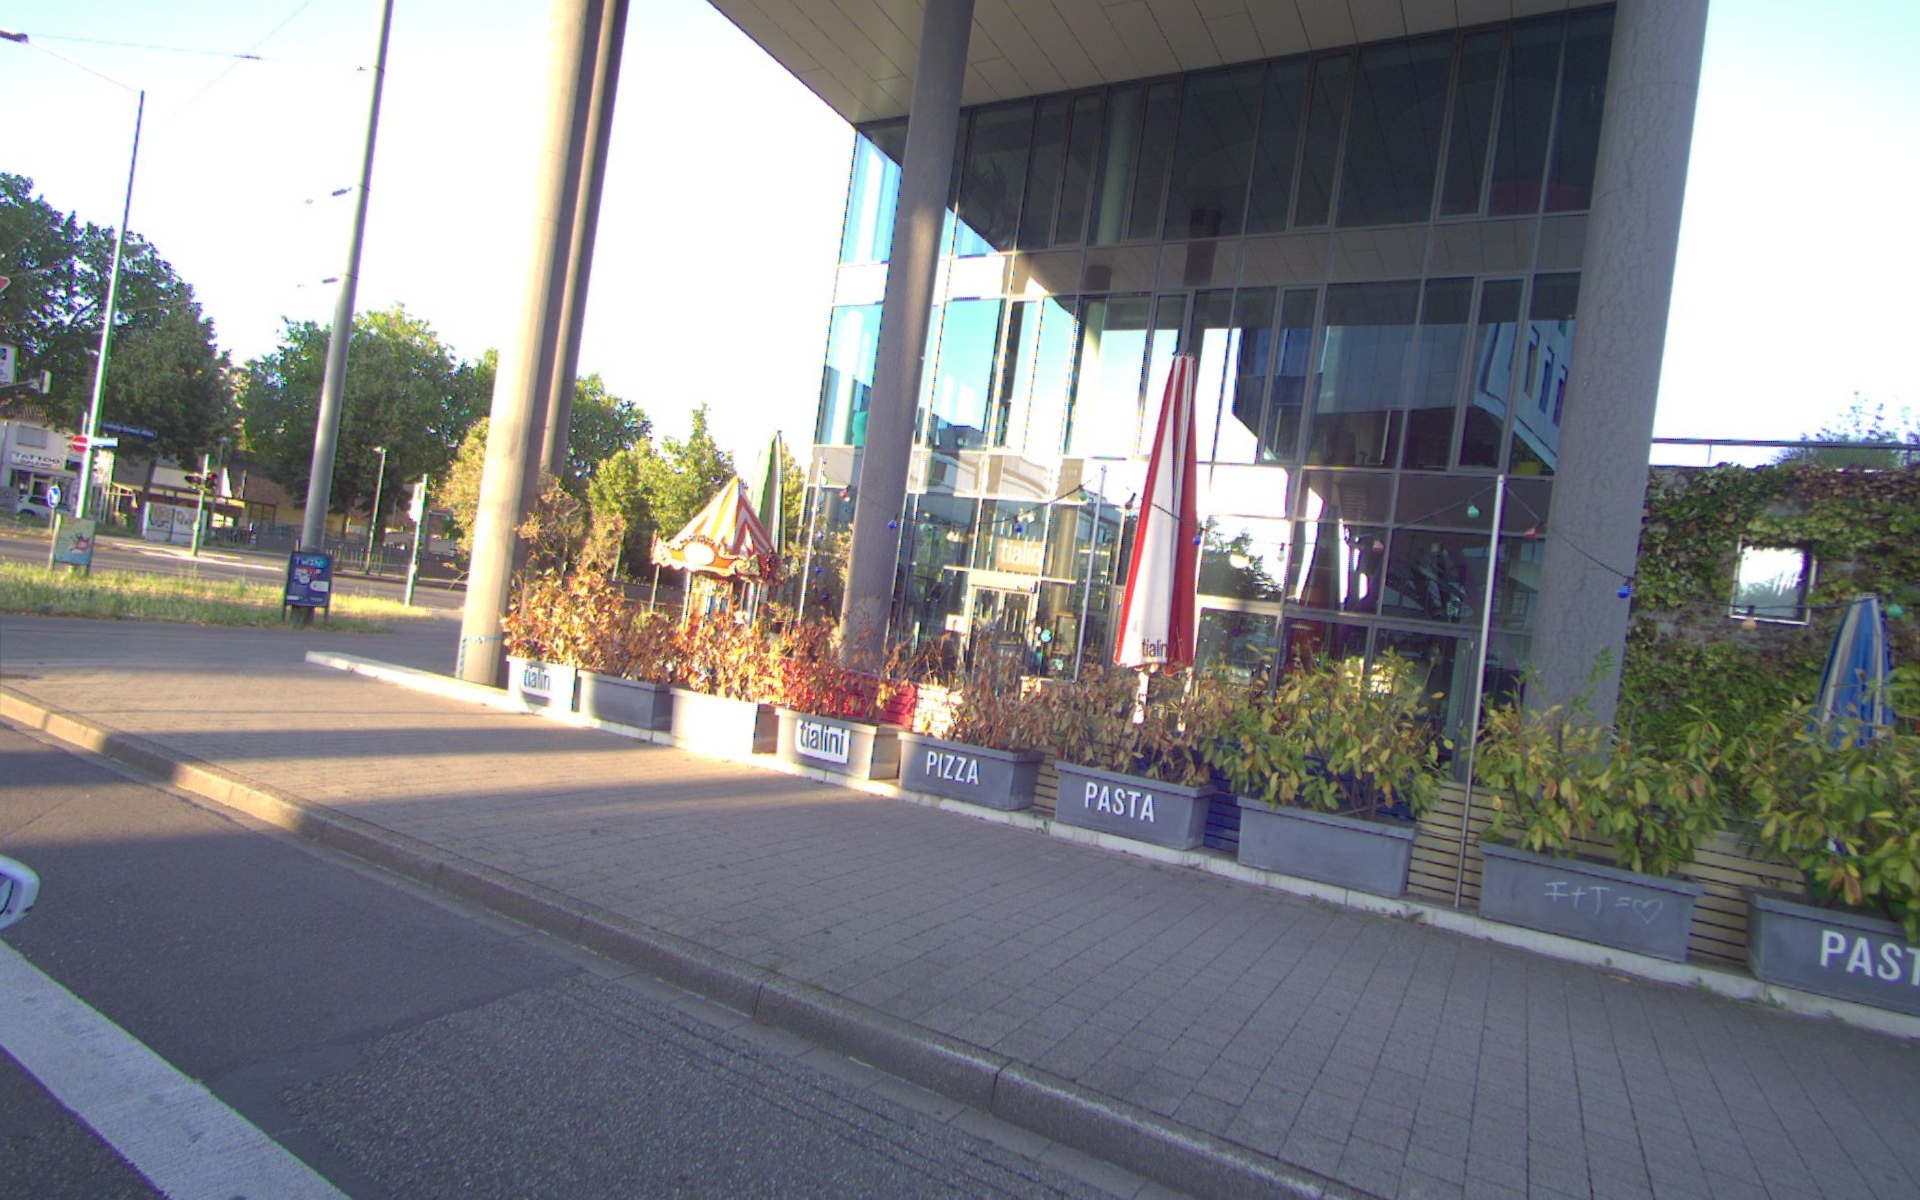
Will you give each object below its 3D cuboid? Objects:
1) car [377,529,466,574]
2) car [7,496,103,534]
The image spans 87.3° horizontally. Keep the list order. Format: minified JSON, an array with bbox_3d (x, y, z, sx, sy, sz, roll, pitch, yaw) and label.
[{"bbox_3d":[-42.549,-3.793,79.571,2.197,2.581,5.594,7,-2,39],"label":"car"},{"bbox_3d":[-50.388,-4.711,56.044,1.641,1.456,3.736,6,-2,41],"label":"car"}]
